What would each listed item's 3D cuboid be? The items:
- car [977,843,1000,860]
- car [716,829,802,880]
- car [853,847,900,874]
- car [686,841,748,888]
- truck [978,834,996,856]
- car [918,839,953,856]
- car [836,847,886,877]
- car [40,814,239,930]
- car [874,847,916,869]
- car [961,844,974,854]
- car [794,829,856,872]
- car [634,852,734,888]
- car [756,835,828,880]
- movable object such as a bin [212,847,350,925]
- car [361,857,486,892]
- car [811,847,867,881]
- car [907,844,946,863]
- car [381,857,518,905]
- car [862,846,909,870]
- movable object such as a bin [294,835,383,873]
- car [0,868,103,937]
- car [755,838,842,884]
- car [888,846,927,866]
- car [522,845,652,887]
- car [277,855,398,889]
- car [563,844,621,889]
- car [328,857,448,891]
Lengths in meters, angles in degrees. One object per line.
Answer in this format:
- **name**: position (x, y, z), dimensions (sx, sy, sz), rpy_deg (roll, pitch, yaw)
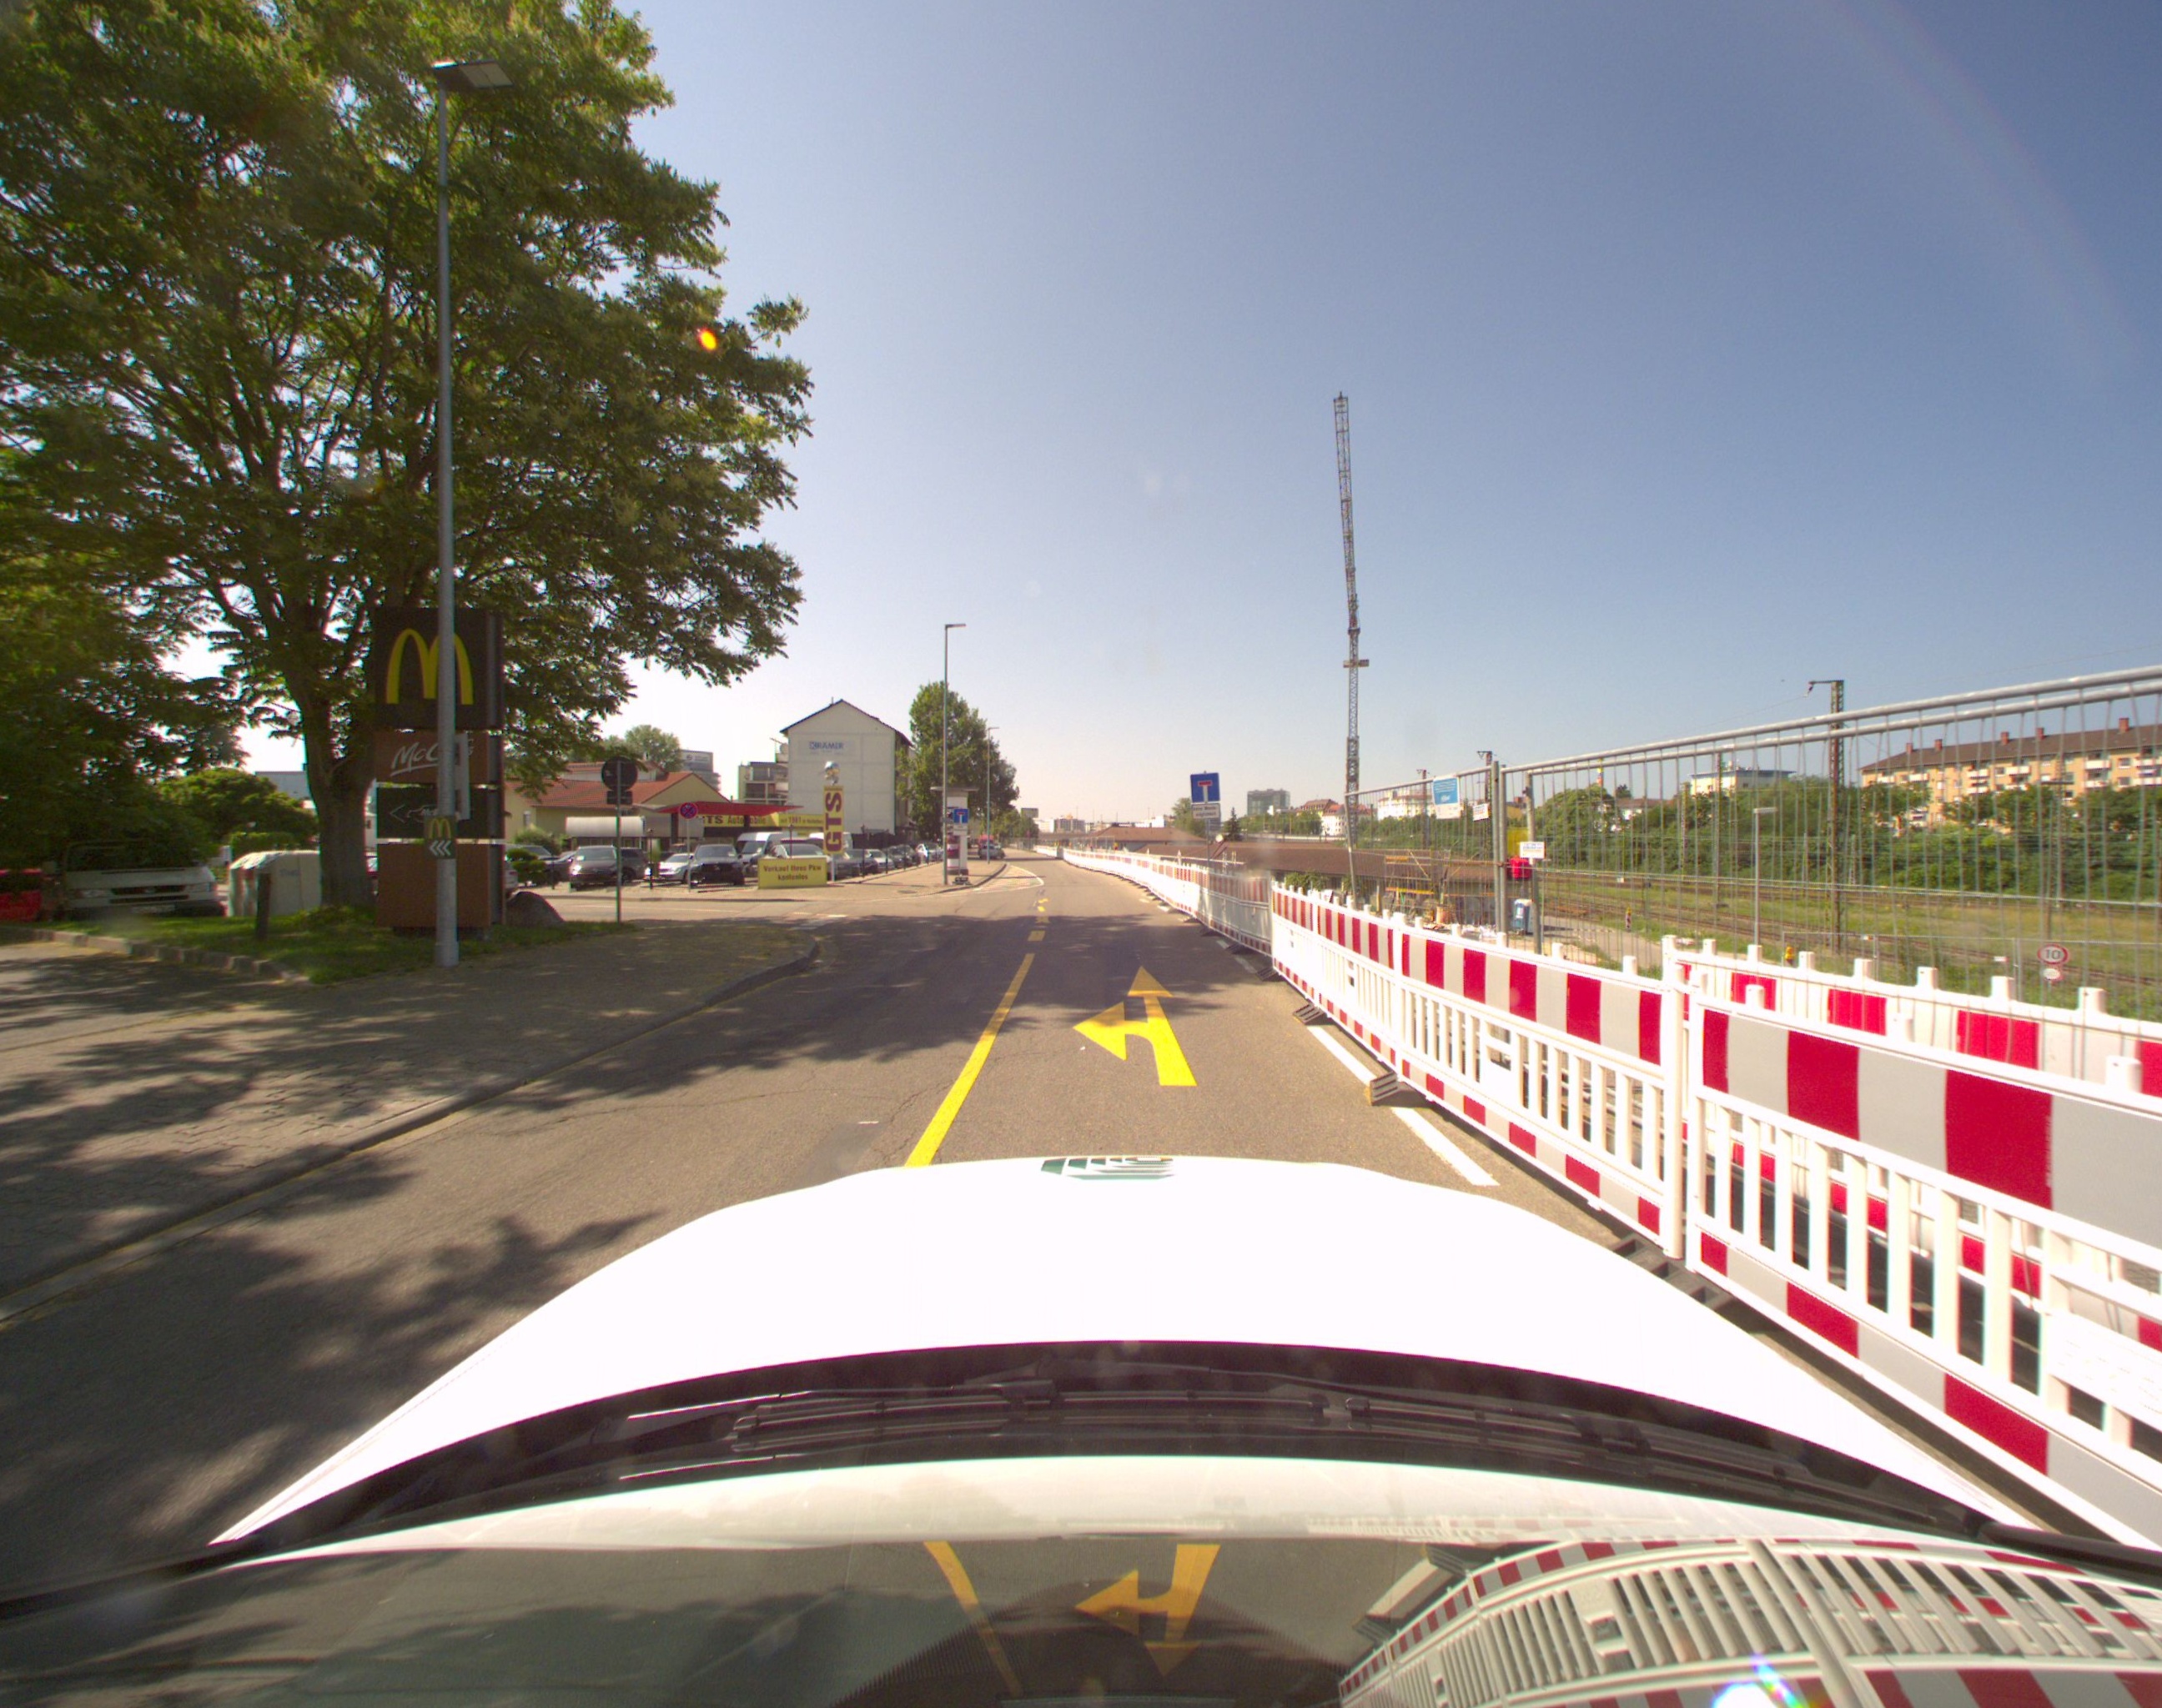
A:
- **car**: position (-9.393, -0.270, 82.836), dimensions (1.864, 1.498, 4.030), rpy_deg (-1, 2, -1)
- **car**: position (-18.775, 0.042, 47.913), dimensions (2.267, 2.758, 6.158), rpy_deg (-1, 0, 3)
- **car**: position (-12.672, 0.401, 50.278), dimensions (1.791, 1.473, 3.962), rpy_deg (-4, 1, -30)
- **car**: position (-14.504, 0.429, 32.339), dimensions (2.053, 1.707, 4.277), rpy_deg (-1, -1, -27)
- **truck**: position (-11.738, -1.093, 102.111), dimensions (2.235, 2.648, 5.670), rpy_deg (0, 0, -6)
- **car**: position (-16.883, -0.765, 94.269), dimensions (3.925, 1.958, 1.752), rpy_deg (1, 0, -12)
- **car**: position (-12.166, 0.423, 44.921), dimensions (1.846, 1.473, 3.965), rpy_deg (-3, 1, -27)
- **car**: position (-18.267, 0.364, 15.747), dimensions (4.466, 1.920, 1.905), rpy_deg (-3, 1, 34)
- **car**: position (-13.504, 0.262, 58.987), dimensions (1.678, 1.473, 3.959), rpy_deg (-3, 1, -32)
- **car**: position (-22.141, -1.038, 158.678), dimensions (1.932, 1.834, 3.921), rpy_deg (3, 0, -2)
- **car**: position (-16.153, -0.200, 51.701), dimensions (2.241, 2.430, 5.712), rpy_deg (3, -1, -3)
- **car**: position (-18.987, 0.718, 39.222), dimensions (1.897, 1.574, 4.699), rpy_deg (0, 1, 9)
- **car**: position (-16.008, 0.196, 45.353), dimensions (2.238, 2.350, 4.823), rpy_deg (-1, -1, 0)
- **movable object such as a bin**: position (-17.457, 0.682, 17.809), dimensions (1.755, 1.526, 1.463), rpy_deg (-2, 3, 21)
- **car**: position (-30.893, 0.923, 38.408), dimensions (1.847, 1.489, 4.156), rpy_deg (-1, 1, 23)
- **car**: position (-11.763, 0.478, 39.407), dimensions (1.847, 1.473, 3.964), rpy_deg (-3, 1, -27)
- **car**: position (-12.716, -0.033, 67.045), dimensions (1.788, 1.473, 3.959), rpy_deg (-3, 1, -32)
- **car**: position (-21.543, 0.886, 27.771), dimensions (4.550, 1.493, 1.692), rpy_deg (-1, 0, 24)
- **car**: position (-13.086, 0.272, 54.469), dimensions (1.679, 1.473, 3.957), rpy_deg (-3, 2, -35)
- **movable object such as a bin**: position (-59.571, -0.031, 65.436), dimensions (1.975, 2.906, 4.863), rpy_deg (-1, 1, 28)
- **car**: position (-25.490, 1.181, 18.768), dimensions (1.672, 1.465, 3.429), rpy_deg (-1, 3, 28)
- **car**: position (-12.023, 0.326, 34.462), dimensions (1.992, 1.707, 4.610), rpy_deg (-2, -1, -39)
- **car**: position (-13.579, 0.167, 63.549), dimensions (1.679, 1.473, 3.959), rpy_deg (-4, 1, -32)
- **car**: position (-23.224, 0.519, 38.425), dimensions (4.919, 1.842, 2.137), rpy_deg (-1, 1, -42)
- **car**: position (-38.062, 0.893, 41.816), dimensions (1.847, 1.603, 4.148), rpy_deg (-1, 1, 23)
- **car**: position (-19.775, 0.464, 33.062), dimensions (1.816, 1.656, 4.274), rpy_deg (-2, 1, -29)
- **car**: position (-33.676, 0.924, 39.720), dimensions (1.777, 1.489, 4.081), rpy_deg (-1, 1, 23)
